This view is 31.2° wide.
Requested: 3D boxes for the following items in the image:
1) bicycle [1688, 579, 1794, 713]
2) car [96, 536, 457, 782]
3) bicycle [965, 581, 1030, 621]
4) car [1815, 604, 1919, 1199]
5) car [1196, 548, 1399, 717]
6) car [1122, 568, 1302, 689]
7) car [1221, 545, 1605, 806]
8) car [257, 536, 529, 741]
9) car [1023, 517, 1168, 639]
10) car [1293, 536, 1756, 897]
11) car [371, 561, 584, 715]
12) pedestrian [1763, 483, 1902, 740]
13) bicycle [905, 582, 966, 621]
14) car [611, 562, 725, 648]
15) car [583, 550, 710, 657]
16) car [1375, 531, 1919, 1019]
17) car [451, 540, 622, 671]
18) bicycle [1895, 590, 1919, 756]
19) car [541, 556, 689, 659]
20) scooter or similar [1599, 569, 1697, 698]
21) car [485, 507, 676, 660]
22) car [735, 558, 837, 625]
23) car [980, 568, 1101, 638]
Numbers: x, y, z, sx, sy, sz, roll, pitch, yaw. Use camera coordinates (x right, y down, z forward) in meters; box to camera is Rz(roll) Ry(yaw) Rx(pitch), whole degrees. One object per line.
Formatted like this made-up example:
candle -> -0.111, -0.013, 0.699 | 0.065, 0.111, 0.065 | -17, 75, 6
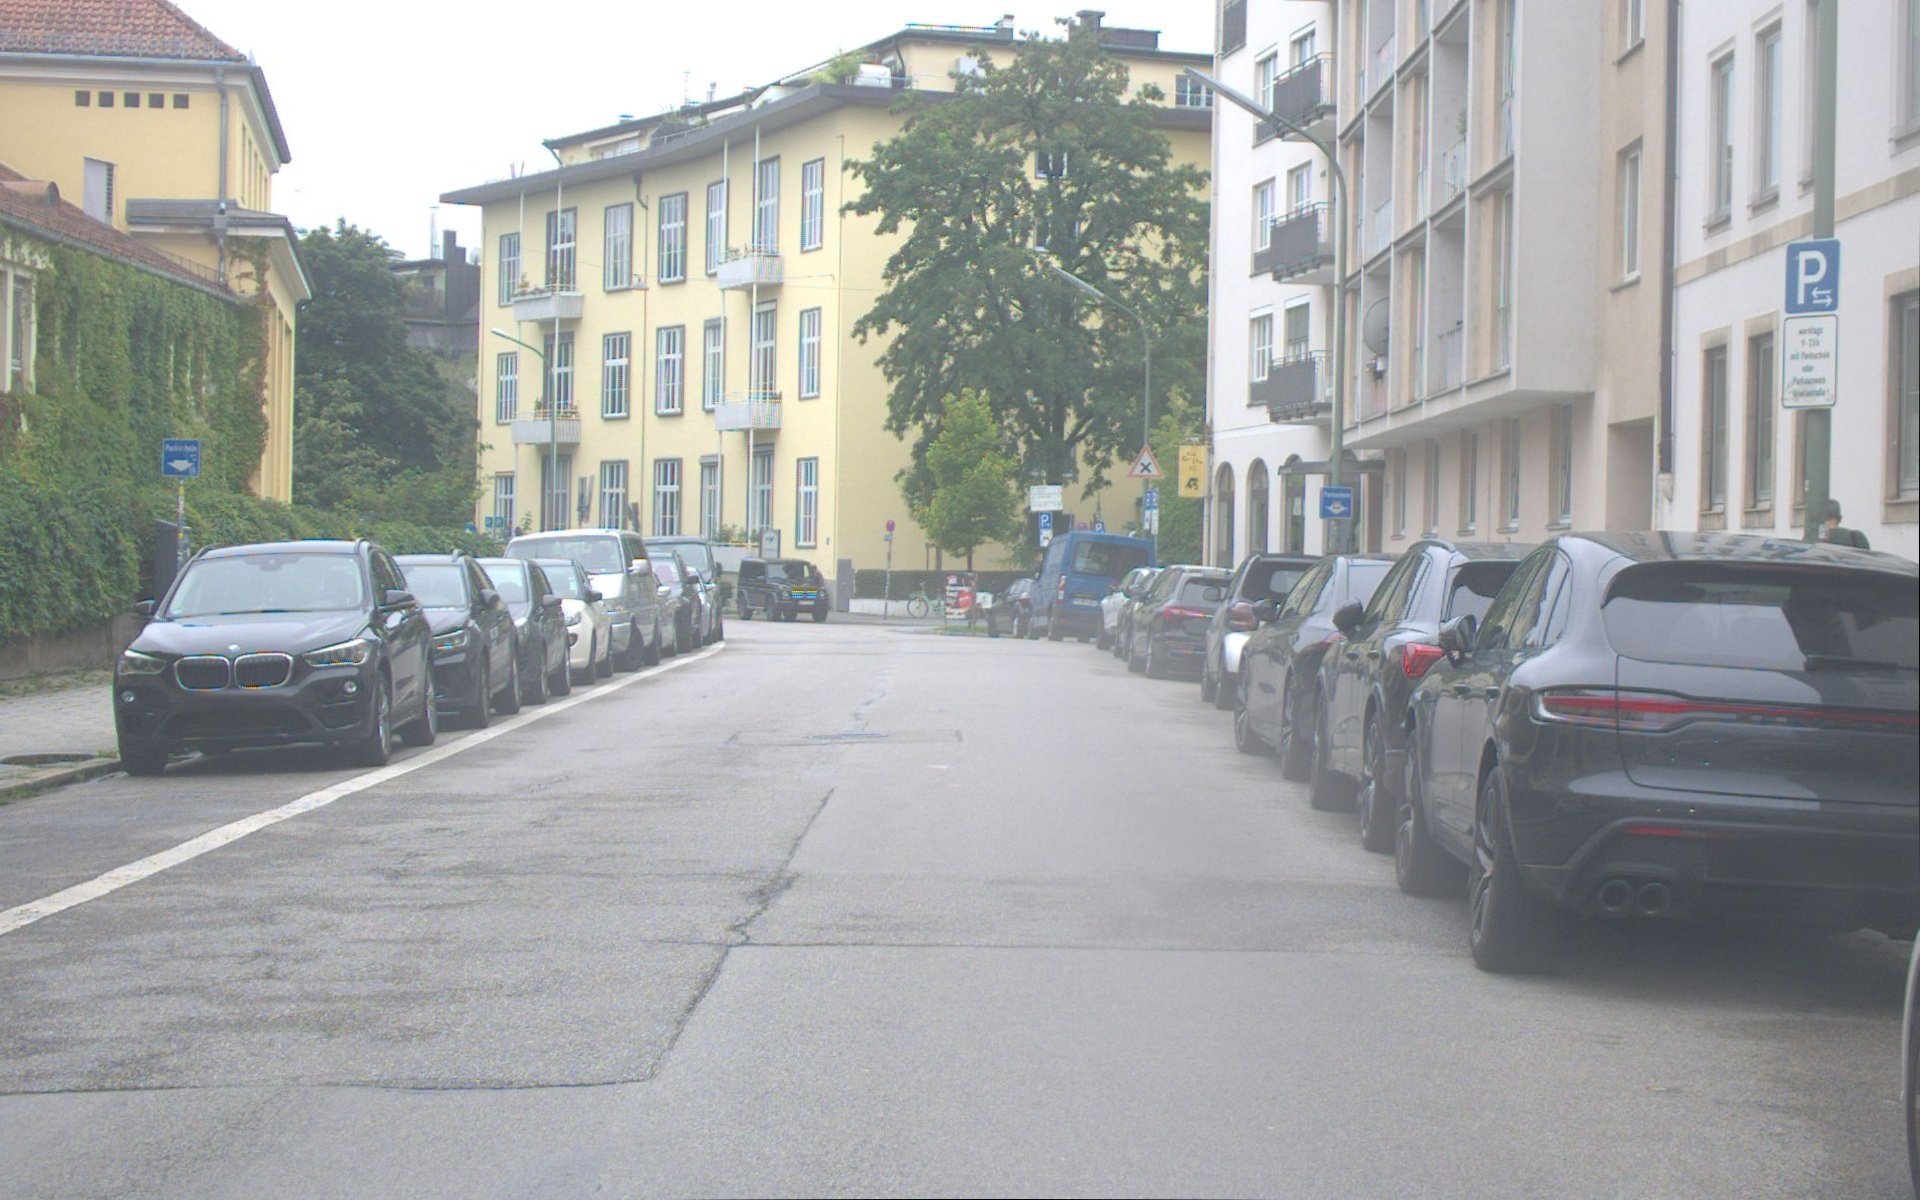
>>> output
bicycle -> 7.417, 0.420, 32.727 | 0.529, 1.213, 2.103 | 2, 1, 1
car -> -4.895, 0.365, 25.260 | 1.789, 1.581, 4.819 | -2, 1, -2
bicycle -> 1.182, 0.039, 108.128 | 1.923, 1.197, 0.595 | 2, 0, 14
car -> 2.981, 0.786, 6.281 | 1.672, 1.424, 4.530 | 3, 1, 0
car -> 3.294, 0.293, 34.020 | 1.650, 1.490, 2.881 | 4, 1, 0
car -> 3.217, 0.330, 44.818 | 1.745, 1.383, 4.954 | 3, 1, -2
car -> 2.975, 0.434, 23.717 | 1.802, 1.479, 5.320 | 4, 1, -1
car -> -4.878, 0.292, 30.116 | 1.724, 1.624, 4.466 | -1, 1, -2
car -> 2.775, -0.414, 71.815 | 2.078, 2.226, 5.245 | 5, -2, -6
car -> 2.867, 0.522, 18.411 | 1.645, 1.584, 4.634 | 4, 1, 0
car -> -4.873, 0.351, 35.191 | 1.603, 1.425, 4.252 | -2, 0, -1
pedestrian -> 6.136, 0.089, 24.218 | 0.723, 1.757, 0.904 | 2, -1, 1
bicycle -> -0.784, 0.039, 109.344 | 1.926, 1.197, 0.594 | 2, 1, 37
car -> -5.187, 0.056, 61.514 | 1.694, 1.388, 4.501 | -3, 1, -1
car -> -5.088, 0.031, 56.207 | 1.697, 1.637, 4.490 | -1, 0, -1
car -> 2.805, 0.554, 13.448 | 1.840, 1.517, 4.709 | 3, 1, 1
car -> -4.934, 0.044, 40.444 | 1.591, 1.436, 4.019 | -1, 1, -2
bicycle -> 7.397, 0.556, 24.824 | 0.512, 1.218, 1.989 | 1, 1, -7
car -> -5.110, 0.084, 51.447 | 1.653, 1.409, 4.771 | -2, 1, 1
scooter or similar -> 7.419, 0.378, 37.124 | 0.439, 1.354, 1.590 | 2, -2, -11
car -> -4.990, -0.229, 45.823 | 1.887, 1.883, 4.774 | -2, 0, 1
car -> -5.515, -0.277, 108.420 | 1.762, 1.868, 4.380 | 5, -1, -22
car -> 1.786, 0.052, 77.970 | 1.676, 1.384, 4.307 | 5, 0, -12
